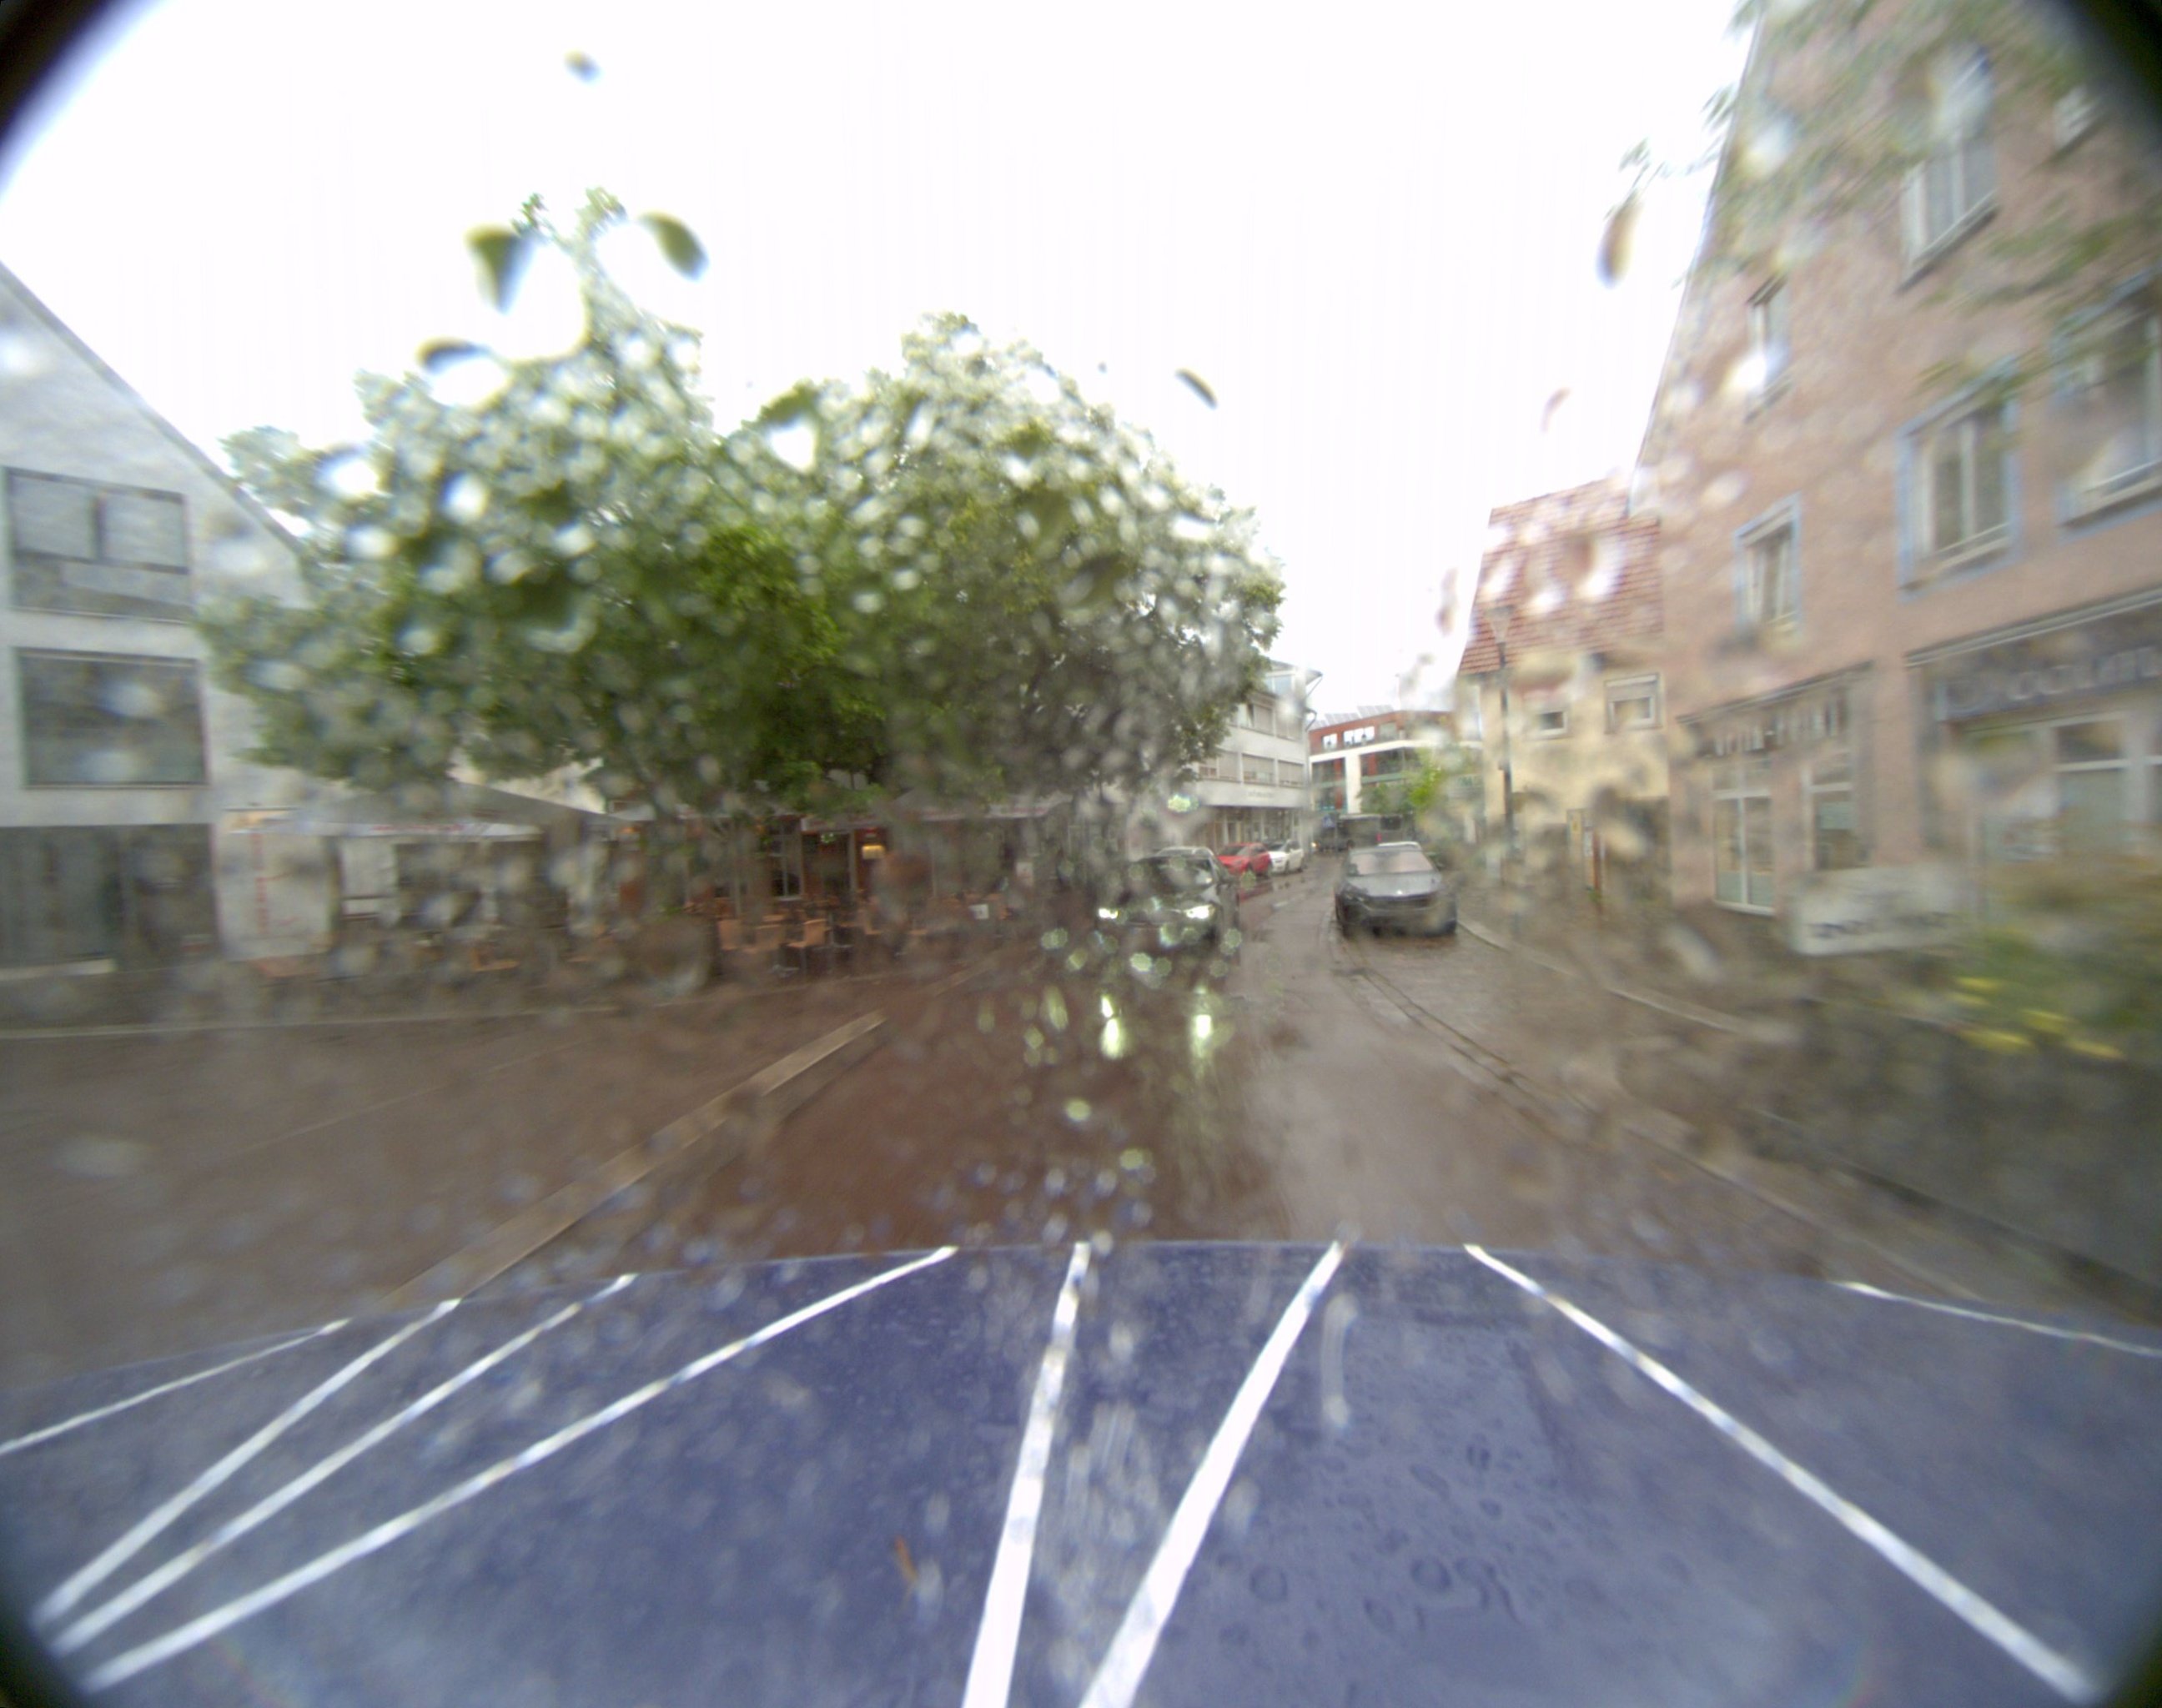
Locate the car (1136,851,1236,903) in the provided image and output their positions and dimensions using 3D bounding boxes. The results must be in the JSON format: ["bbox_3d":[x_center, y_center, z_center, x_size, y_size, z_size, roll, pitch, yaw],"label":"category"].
[{"bbox_3d":[3.706,0.733,26.082,1.691,1.530,4.411,-2,0,32],"label":"car"}]

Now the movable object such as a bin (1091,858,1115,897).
[{"bbox_3d":[0.672,0.726,23.450,0.504,1.143,0.581,-2,2,24],"label":"movable object such as a bin"}]

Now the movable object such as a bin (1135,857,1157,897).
[{"bbox_3d":[1.937,0.686,22.647,0.477,1.162,0.489,-2,2,24],"label":"movable object such as a bin"}]

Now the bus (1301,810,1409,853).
[{"bbox_3d":[23.141,-1.837,65.070,2.682,3.282,10.675,-3,2,-18],"label":"bus"}]

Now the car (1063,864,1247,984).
[{"bbox_3d":[1.453,0.978,12.341,1.996,1.398,4.899,-3,0,17],"label":"car"}]

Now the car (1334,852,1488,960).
[{"bbox_3d":[5.694,0.803,13.645,1.996,1.446,4.378,-2,2,17],"label":"car"}]

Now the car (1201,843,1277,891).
[{"bbox_3d":[6.400,0.486,30.470,1.691,1.680,3.964,-1,2,32],"label":"car"}]

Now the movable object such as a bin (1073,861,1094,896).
[{"bbox_3d":[0.088,0.758,23.799,0.430,1.041,0.501,-2,2,24],"label":"movable object such as a bin"}]

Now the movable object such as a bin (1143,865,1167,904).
[{"bbox_3d":[2.257,0.918,23.198,0.534,1.143,0.501,-2,2,24],"label":"movable object such as a bin"}]

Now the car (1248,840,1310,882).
[{"bbox_3d":[9.264,0.294,35.324,1.691,1.680,4.285,-2,2,29],"label":"car"}]

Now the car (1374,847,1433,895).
[{"bbox_3d":[10.884,0.527,25.777,1.691,1.415,3.821,-2,1,22],"label":"car"}]

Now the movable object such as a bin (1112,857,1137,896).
[{"bbox_3d":[1.323,0.689,23.111,0.545,1.143,0.586,-2,2,24],"label":"movable object such as a bin"}]

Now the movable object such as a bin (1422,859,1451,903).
[{"bbox_3d":[9.305,0.697,19.875,0.660,1.103,0.624,-2,2,25],"label":"movable object such as a bin"}]

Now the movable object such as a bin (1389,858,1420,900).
[{"bbox_3d":[8.883,0.695,20.840,0.692,1.080,0.547,-4,1,25],"label":"movable object such as a bin"}]
